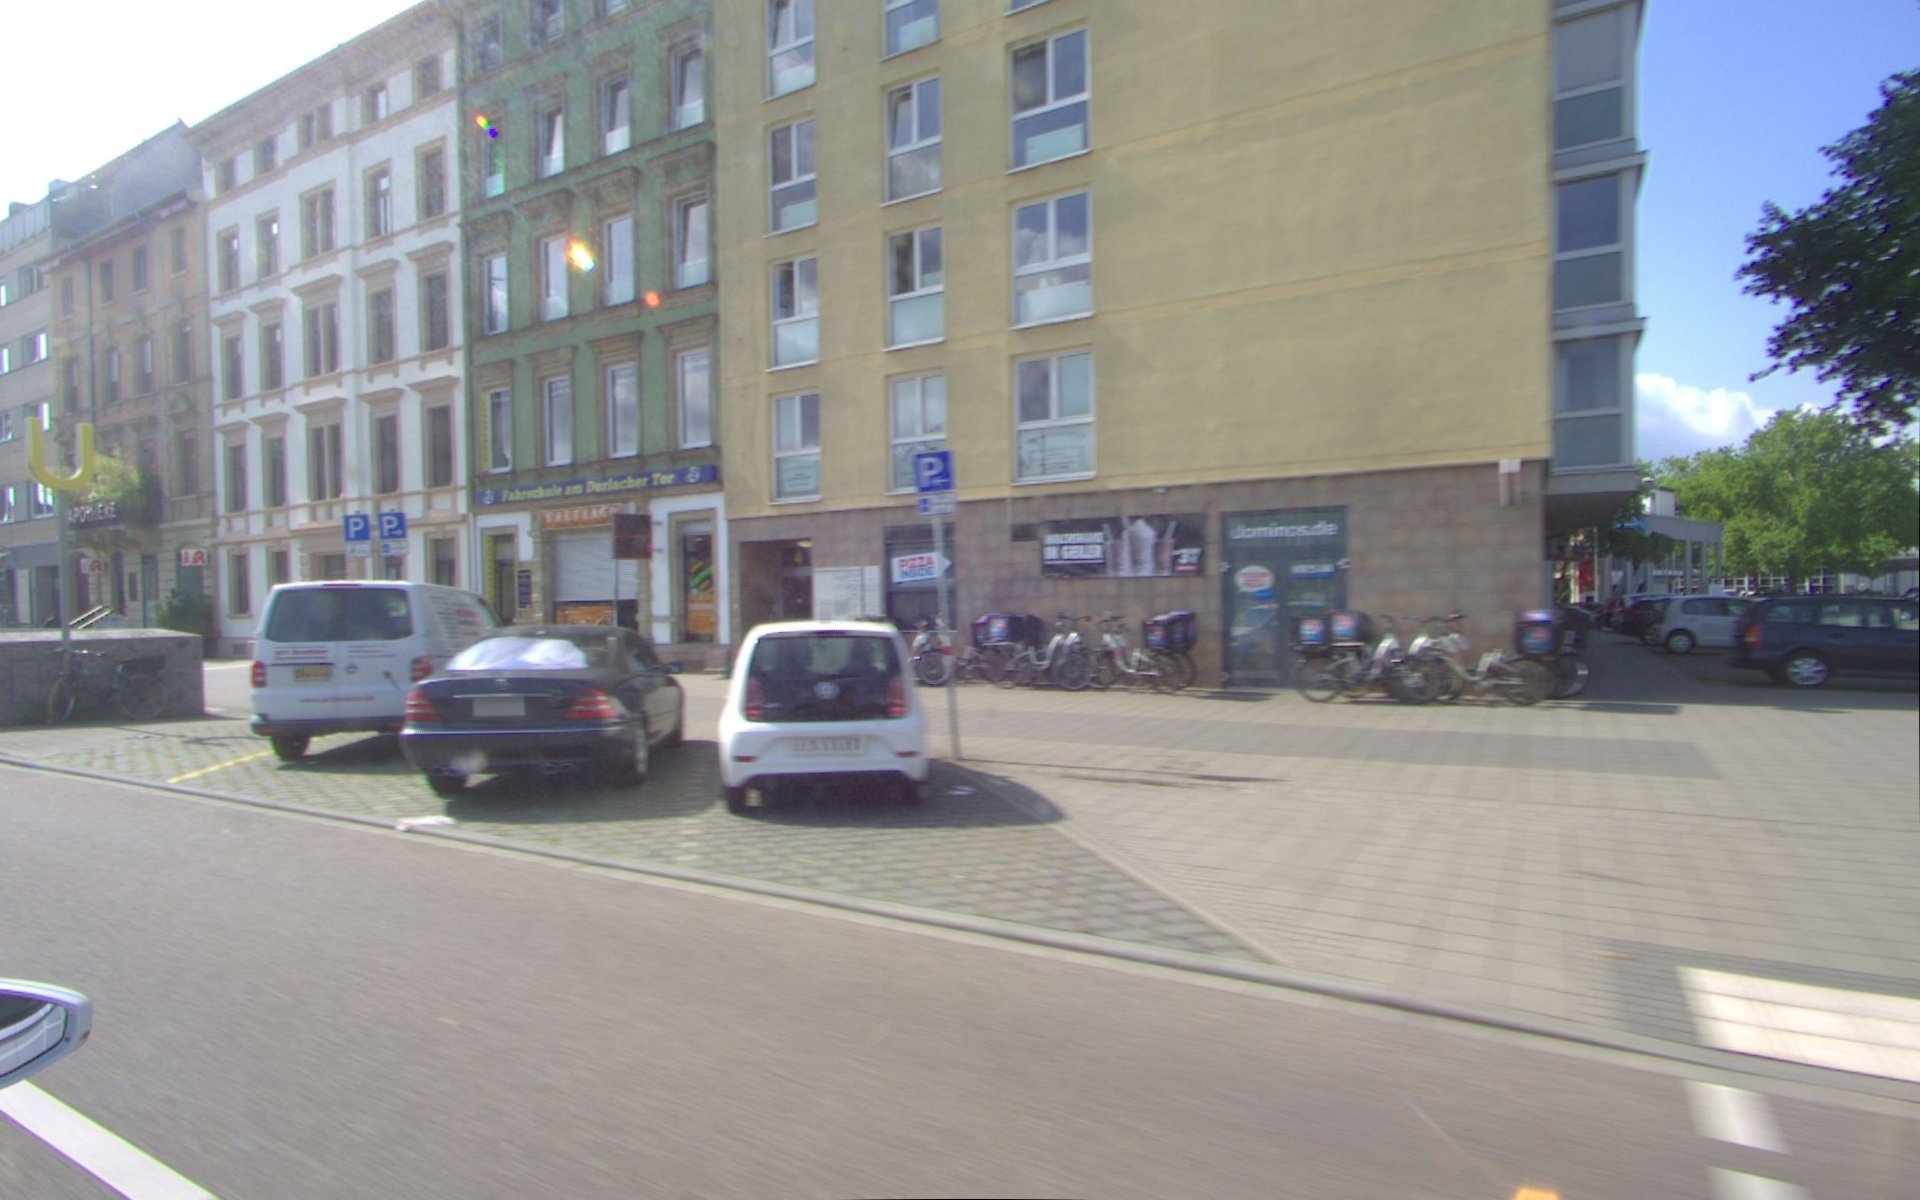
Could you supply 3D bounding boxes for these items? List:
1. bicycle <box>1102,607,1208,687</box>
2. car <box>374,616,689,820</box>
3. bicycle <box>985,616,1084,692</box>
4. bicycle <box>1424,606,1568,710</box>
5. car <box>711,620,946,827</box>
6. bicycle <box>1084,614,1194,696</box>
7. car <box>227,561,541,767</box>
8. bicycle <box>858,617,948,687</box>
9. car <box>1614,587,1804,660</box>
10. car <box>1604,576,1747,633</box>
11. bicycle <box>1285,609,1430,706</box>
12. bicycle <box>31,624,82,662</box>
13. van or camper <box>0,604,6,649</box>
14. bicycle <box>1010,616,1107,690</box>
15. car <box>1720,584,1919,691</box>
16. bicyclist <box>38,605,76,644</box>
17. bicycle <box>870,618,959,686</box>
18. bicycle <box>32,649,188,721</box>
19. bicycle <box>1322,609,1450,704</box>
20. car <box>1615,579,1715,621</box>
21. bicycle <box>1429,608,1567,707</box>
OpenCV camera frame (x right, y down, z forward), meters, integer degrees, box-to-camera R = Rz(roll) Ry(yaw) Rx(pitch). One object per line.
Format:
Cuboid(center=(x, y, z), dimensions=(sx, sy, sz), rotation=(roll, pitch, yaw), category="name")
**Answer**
Cuboid(center=(3.135, 0.738, 16.141), dimensions=(1.623, 1.217, 0.484), rotation=(-1, 1, 36), category="bicycle")
Cuboid(center=(-3.929, 0.930, 10.169), dimensions=(1.855, 1.488, 5.060), rotation=(-1, -1, -11), category="car")
Cuboid(center=(1.235, 0.880, 16.735), dimensions=(1.623, 1.217, 0.484), rotation=(-1, 1, 36), category="bicycle")
Cuboid(center=(7.047, 0.739, 13.204), dimensions=(1.623, 1.289, 0.528), rotation=(-1, 1, 36), category="bicycle")
Cuboid(center=(-1.232, 0.940, 8.981), dimensions=(1.687, 1.459, 3.511), rotation=(0, -2, -10), category="car")
Cuboid(center=(2.792, 0.832, 15.702), dimensions=(1.623, 1.217, 0.545), rotation=(-1, 1, 36), category="bicycle")
Cuboid(center=(-6.997, 0.742, 12.882), dimensions=(2.041, 2.111, 4.896), rotation=(1, -2, -12), category="car")
Cuboid(center=(-1.037, 0.918, 17.989), dimensions=(1.621, 1.217, 0.485), rotation=(-1, 1, 31), category="bicycle")
Cuboid(center=(18.709, 0.633, 25.235), dimensions=(3.524, 1.548, 1.991), rotation=(-5, -4, 30), category="car")
Cuboid(center=(26.111, 0.214, 36.712), dimensions=(3.941, 1.752, 1.812), rotation=(-5, -4, 28), category="car")
Cuboid(center=(5.539, 0.785, 14.014), dimensions=(1.858, 1.289, 0.486), rotation=(-1, 1, 23), category="bicycle")
Cuboid(center=(-28.792, 1.383, 31.901), dimensions=(2.179, 1.060, 0.702), rotation=(-5, -4, 33), category="bicycle")
Cuboid(center=(-43.650, 1.201, 43.383), dimensions=(5.220, 1.931, 1.989), rotation=(-1, 2, 31), category="van or camper")
Cuboid(center=(1.673, 0.882, 17.085), dimensions=(1.623, 1.217, 0.484), rotation=(-1, 1, 36), category="bicycle")
Cuboid(center=(14.972, 0.589, 15.902), dimensions=(4.328, 1.604, 1.992), rotation=(-3, -3, 30), category="car")
Cuboid(center=(-28.774, 0.790, 31.905), dimensions=(0.803, 1.161, 0.706), rotation=(-5, -4, 33), category="bicyclist")
Cuboid(center=(-0.849, 0.942, 18.473), dimensions=(1.621, 1.217, 0.485), rotation=(-1, 1, 31), category="bicycle")
Cuboid(center=(-12.946, 1.267, 15.319), dimensions=(0.504, 1.016, 1.775), rotation=(0, -2, 22), category="bicycle")
Cuboid(center=(6.077, 0.779, 14.330), dimensions=(1.623, 1.289, 0.484), rotation=(-1, 1, 36), category="bicycle")
Cuboid(center=(32.107, 0.041, 45.729), dimensions=(3.573, 1.613, 1.657), rotation=(-6, -4, 34), category="car")
Cuboid(center=(7.323, 0.757, 13.664), dimensions=(1.623, 1.289, 0.484), rotation=(-1, 1, 36), category="bicycle")
